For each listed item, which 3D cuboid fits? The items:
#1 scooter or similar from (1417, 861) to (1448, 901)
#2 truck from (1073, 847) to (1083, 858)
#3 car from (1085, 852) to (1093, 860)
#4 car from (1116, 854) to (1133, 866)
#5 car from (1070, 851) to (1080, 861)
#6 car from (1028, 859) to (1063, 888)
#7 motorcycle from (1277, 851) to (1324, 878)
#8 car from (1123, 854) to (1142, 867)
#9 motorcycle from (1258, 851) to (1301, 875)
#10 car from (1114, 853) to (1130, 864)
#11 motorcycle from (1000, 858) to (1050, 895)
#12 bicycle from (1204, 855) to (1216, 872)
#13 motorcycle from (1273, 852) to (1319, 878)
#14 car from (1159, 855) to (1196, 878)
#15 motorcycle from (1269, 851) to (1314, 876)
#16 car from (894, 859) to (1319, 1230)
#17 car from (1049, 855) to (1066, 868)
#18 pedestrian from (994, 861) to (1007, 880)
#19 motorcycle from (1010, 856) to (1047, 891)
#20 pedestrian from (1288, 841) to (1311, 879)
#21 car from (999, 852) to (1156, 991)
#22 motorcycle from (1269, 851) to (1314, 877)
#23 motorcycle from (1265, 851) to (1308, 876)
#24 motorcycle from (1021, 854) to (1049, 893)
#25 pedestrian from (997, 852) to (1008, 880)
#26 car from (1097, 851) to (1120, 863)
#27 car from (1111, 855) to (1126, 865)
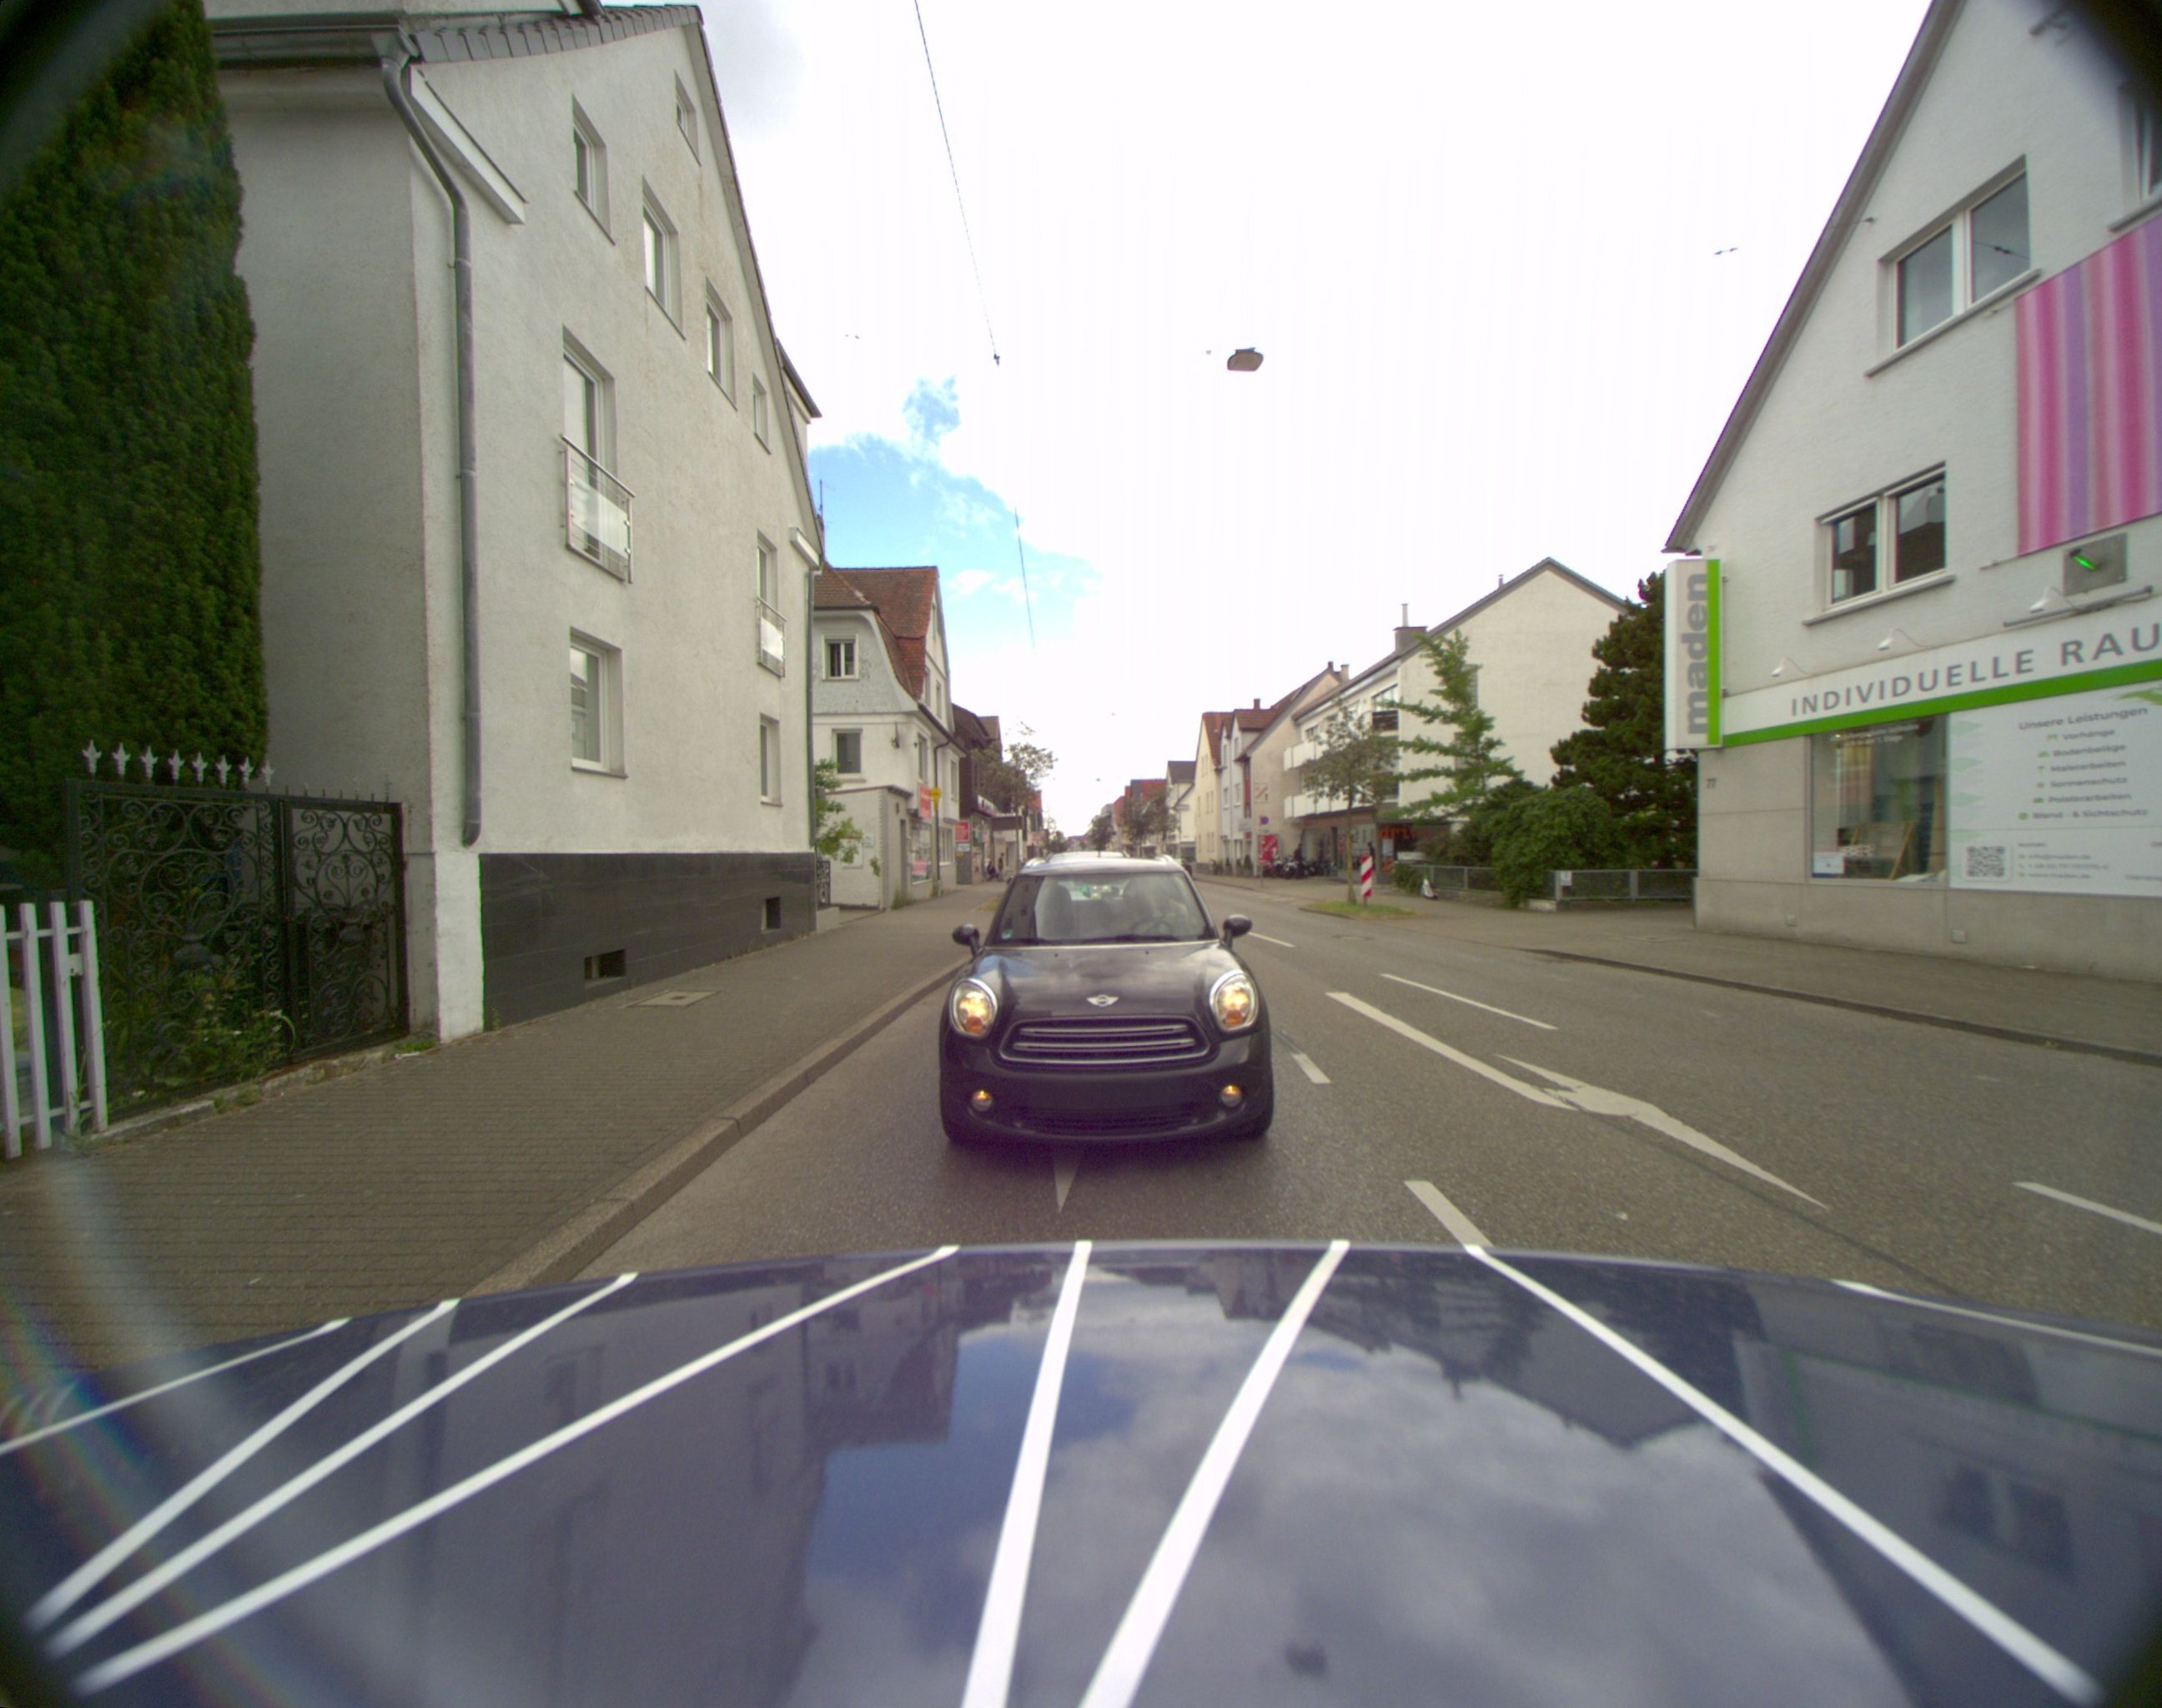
[{"bbox_3d":[10.364,0.785,22.426,0.340,1.105,1.180,-2,1,0],"label":"scooter or similar"},{"bbox_3d":[-0.889,-0.586,219.272,2.800,3.020,8.250,-2,0,0],"label":"truck"},{"bbox_3d":[2.045,0.470,192.629,1.855,1.932,4.489,1,0,-2],"label":"car"},{"bbox_3d":[5.572,0.740,97.153,1.716,1.389,3.899,-2,0,-2],"label":"car"},{"bbox_3d":[-1.318,0.418,163.830,2.059,2.002,4.186,-2,0,-1],"label":"car"},{"bbox_3d":[-1.983,1.068,43.239,1.830,1.400,4.564,-2,0,-1],"label":"car"},{"bbox_3d":[11.606,0.553,40.154,2.231,1.258,0.613,-4,1,-2],"label":"motorcycle"},{"bbox_3d":[5.848,0.713,86.479,1.716,1.389,3.899,-2,0,-2],"label":"car"},{"bbox_3d":[11.492,0.523,44.036,2.231,1.258,0.613,-4,1,-2],"label":"motorcycle"},{"bbox_3d":[5.475,0.624,102.141,1.716,1.389,3.899,-2,0,-2],"label":"car"},{"bbox_3d":[-2.186,0.860,29.411,0.777,1.373,2.237,-2,1,-37],"label":"motorcycle"},{"bbox_3d":[9.414,0.698,55.466,0.515,1.189,2.023,-2,1,-1],"label":"bicycle"},{"bbox_3d":[11.609,0.587,41.013,2.231,1.258,0.613,-4,1,-2],"label":"motorcycle"},{"bbox_3d":[6.442,0.812,51.122,1.792,1.409,4.340,0,0,-1],"label":"car"},{"bbox_3d":[11.794,0.527,42.590,2.231,1.258,0.699,-4,1,-2],"label":"motorcycle"},{"bbox_3d":[0.042,0.863,5.757,1.855,1.527,4.735,-2,0,-2],"label":"car"},{"bbox_3d":[-2.617,0.858,85.510,1.794,1.356,3.948,1,0,0],"label":"car"},{"bbox_3d":[-4.949,1.011,46.818,0.742,1.204,0.644,0,1,-1],"label":"pedestrian"},{"bbox_3d":[-2.255,0.825,32.919,0.648,1.432,2.472,-2,1,19],"label":"motorcycle"},{"bbox_3d":[11.126,0.295,38.700,0.753,1.838,1.019,-5,1,0],"label":"pedestrian"},{"bbox_3d":[-0.024,0.816,11.580,1.855,1.615,4.736,-2,0,0],"label":"car"},{"bbox_3d":[11.596,0.544,41.835,2.231,1.258,0.613,-4,1,-2],"label":"motorcycle"},{"bbox_3d":[11.715,0.531,43.372,2.231,1.258,0.613,-4,1,-2],"label":"motorcycle"},{"bbox_3d":[-1.892,0.789,31.819,0.672,1.516,2.599,-2,1,6],"label":"motorcycle"},{"bbox_3d":[-4.759,0.718,46.036,0.644,1.730,0.742,0,1,-6],"label":"pedestrian"},{"bbox_3d":[4.217,0.423,115.914,1.995,1.772,4.006,-2,1,25],"label":"car"},{"bbox_3d":[5.267,0.812,107.786,1.716,1.389,3.899,-2,0,-2],"label":"car"}]
